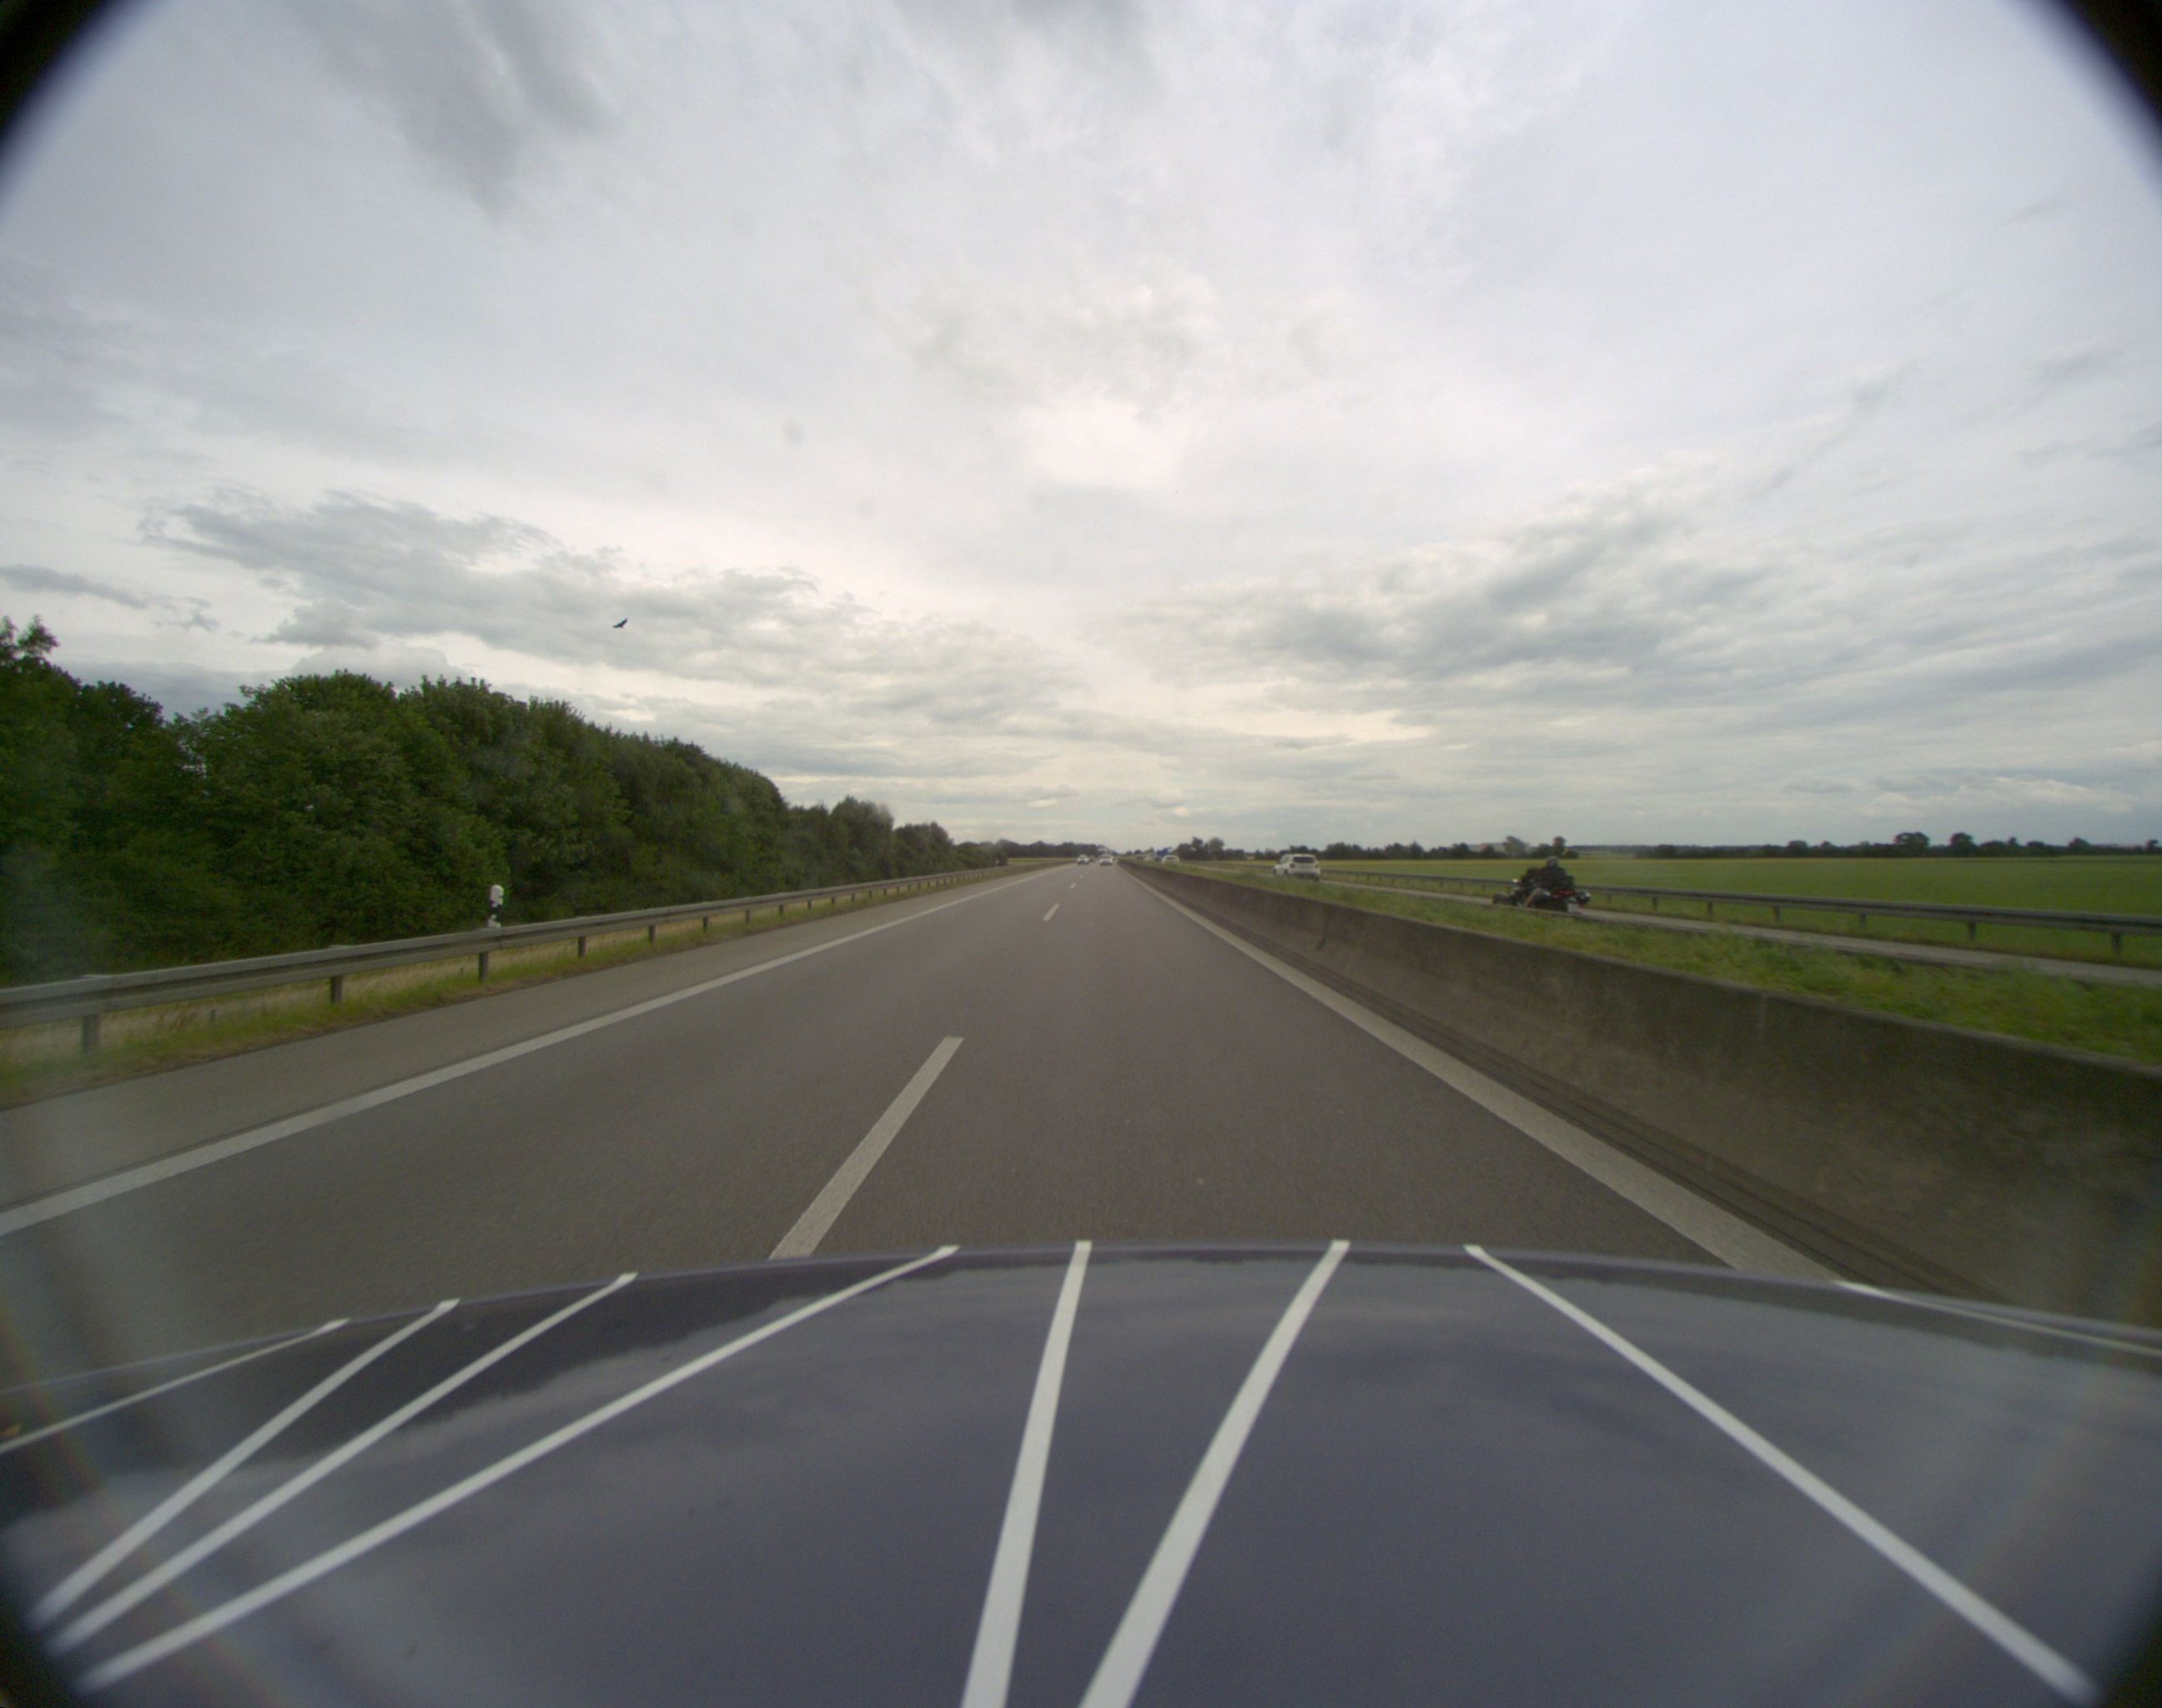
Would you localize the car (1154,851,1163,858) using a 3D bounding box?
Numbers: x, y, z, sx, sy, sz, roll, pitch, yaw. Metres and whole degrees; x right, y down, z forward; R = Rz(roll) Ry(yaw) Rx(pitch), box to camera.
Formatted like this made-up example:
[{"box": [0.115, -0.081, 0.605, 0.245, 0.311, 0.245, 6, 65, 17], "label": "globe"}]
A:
[{"box": [17.142, 0.179, 168.270, 1.750, 1.479, 4.530, 1, 0, 1], "label": "car"}]

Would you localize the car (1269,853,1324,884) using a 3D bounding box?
[{"box": [12.307, 0.768, 43.695, 1.840, 1.617, 4.690, 1, 1, 1], "label": "car"}]

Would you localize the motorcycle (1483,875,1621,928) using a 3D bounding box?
[{"box": [11.490, 1.115, 18.742, 1.570, 1.072, 2.982, 1, 1, 1], "label": "motorcycle"}]

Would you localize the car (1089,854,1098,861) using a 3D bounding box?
[{"box": [2.983, 0.786, 176.083, 1.916, 1.553, 4.288, -1, 1, 2], "label": "car"}]

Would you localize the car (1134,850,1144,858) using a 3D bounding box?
[{"box": [12.437, -0.094, 161.863, 1.845, 1.684, 4.358, 1, 1, 1], "label": "car"}]

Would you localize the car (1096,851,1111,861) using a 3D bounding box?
[{"box": [3.366, 0.282, 112.964, 1.916, 1.553, 4.286, -1, 1, -3], "label": "car"}]

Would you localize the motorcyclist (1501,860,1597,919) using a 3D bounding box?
[{"box": [11.497, 0.850, 18.725, 1.570, 1.363, 1.252, 1, 1, 1], "label": "motorcyclist"}]

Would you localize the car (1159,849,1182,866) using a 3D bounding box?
[{"box": [9.644, 0.366, 82.341, 1.952, 1.684, 5.174, 1, 1, 1], "label": "car"}]

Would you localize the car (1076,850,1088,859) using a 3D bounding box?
[{"box": [0.207, 0.095, 132.550, 1.916, 1.553, 4.288, -1, 1, 2], "label": "car"}]
